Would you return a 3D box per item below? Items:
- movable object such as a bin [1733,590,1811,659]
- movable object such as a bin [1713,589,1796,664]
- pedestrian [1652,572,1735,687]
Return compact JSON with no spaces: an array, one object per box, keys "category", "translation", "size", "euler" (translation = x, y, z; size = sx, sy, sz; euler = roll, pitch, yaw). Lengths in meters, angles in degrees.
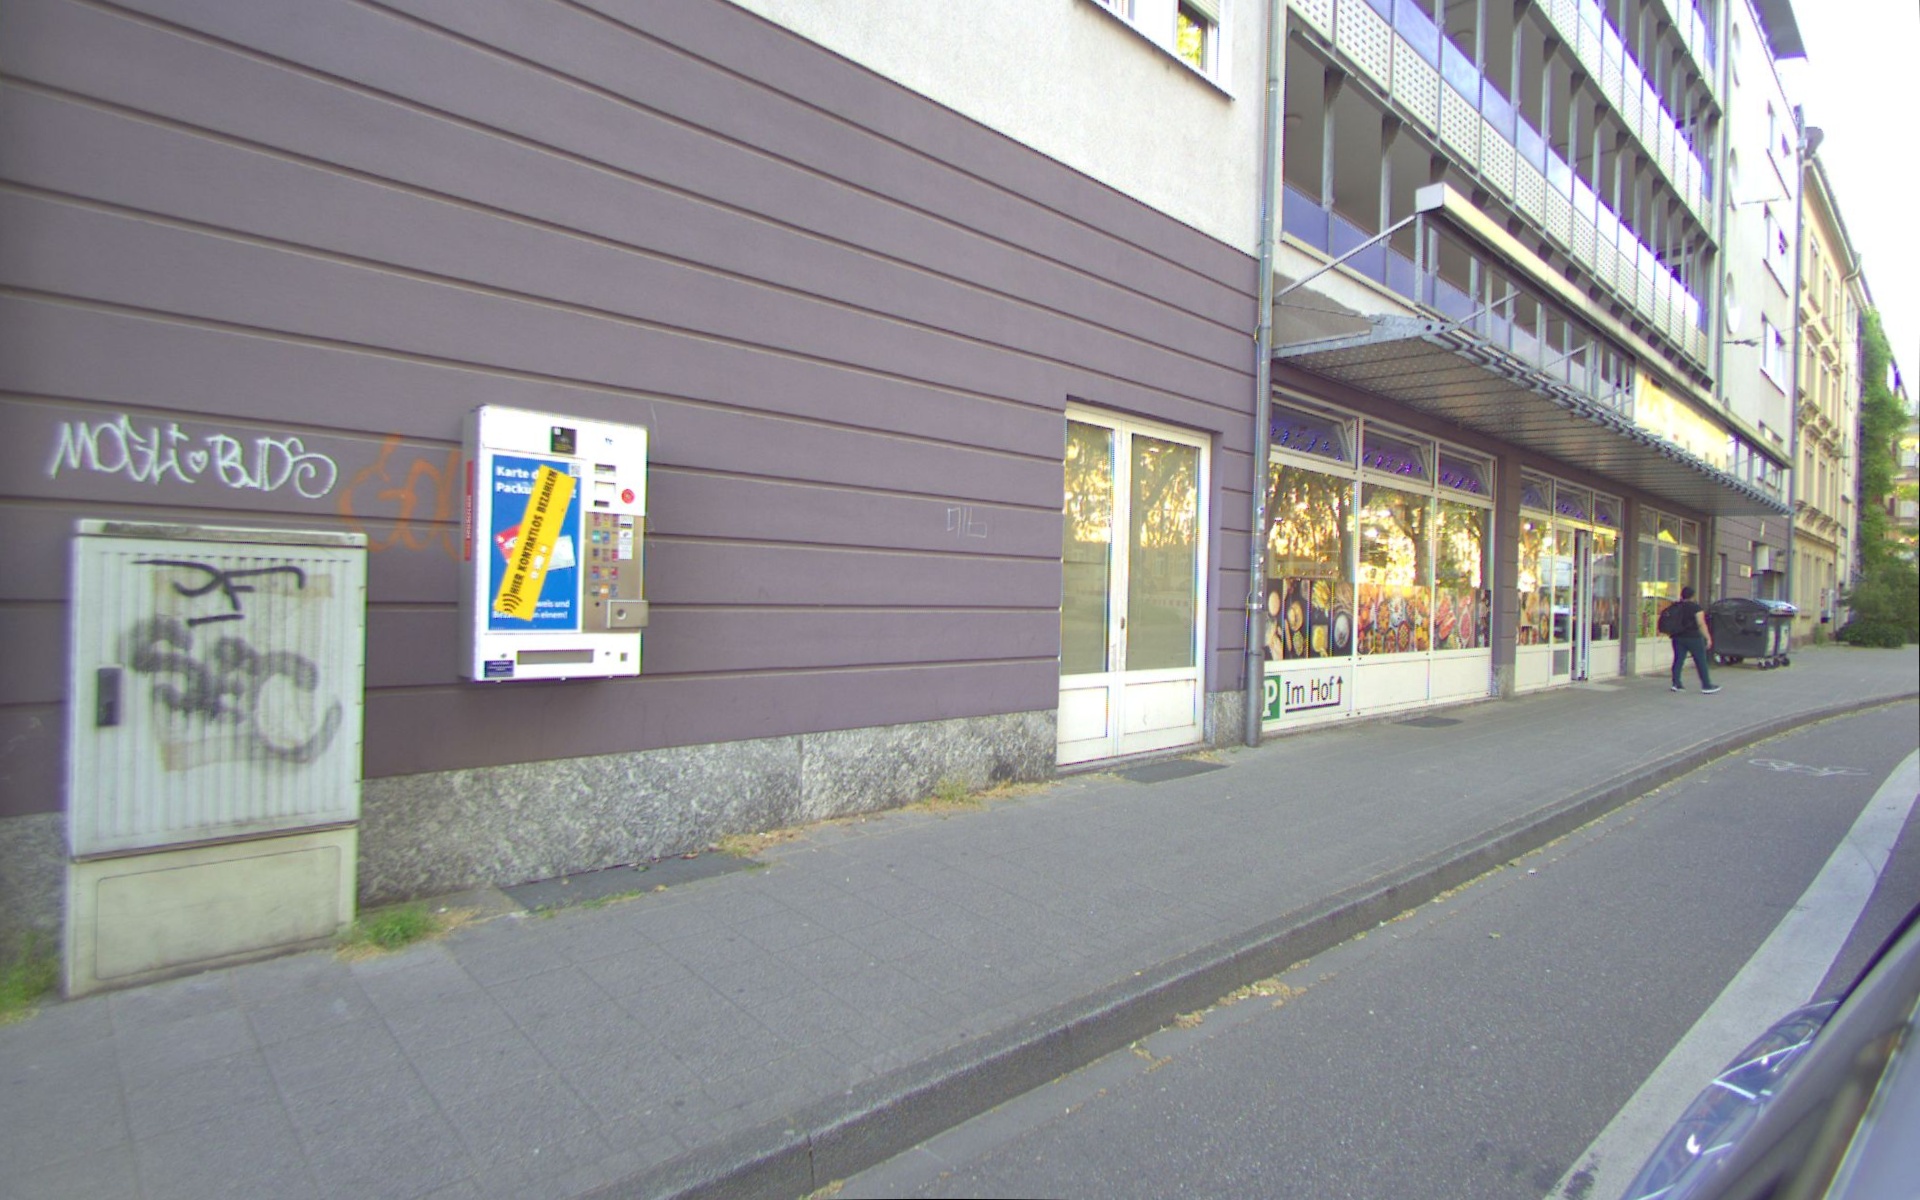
[{"category":"movable object such as a bin","translation":[17.759,0.520,22.142],"size":[0.923,1.444,1.158],"euler":[1,1,-40]},{"category":"movable object such as a bin","translation":[16.299,0.522,20.768],"size":[0.923,1.444,1.158],"euler":[1,1,-40]},{"category":"pedestrian","translation":[10.785,0.406,14.879],"size":[0.862,1.611,0.613],"euler":[3,2,44]}]
